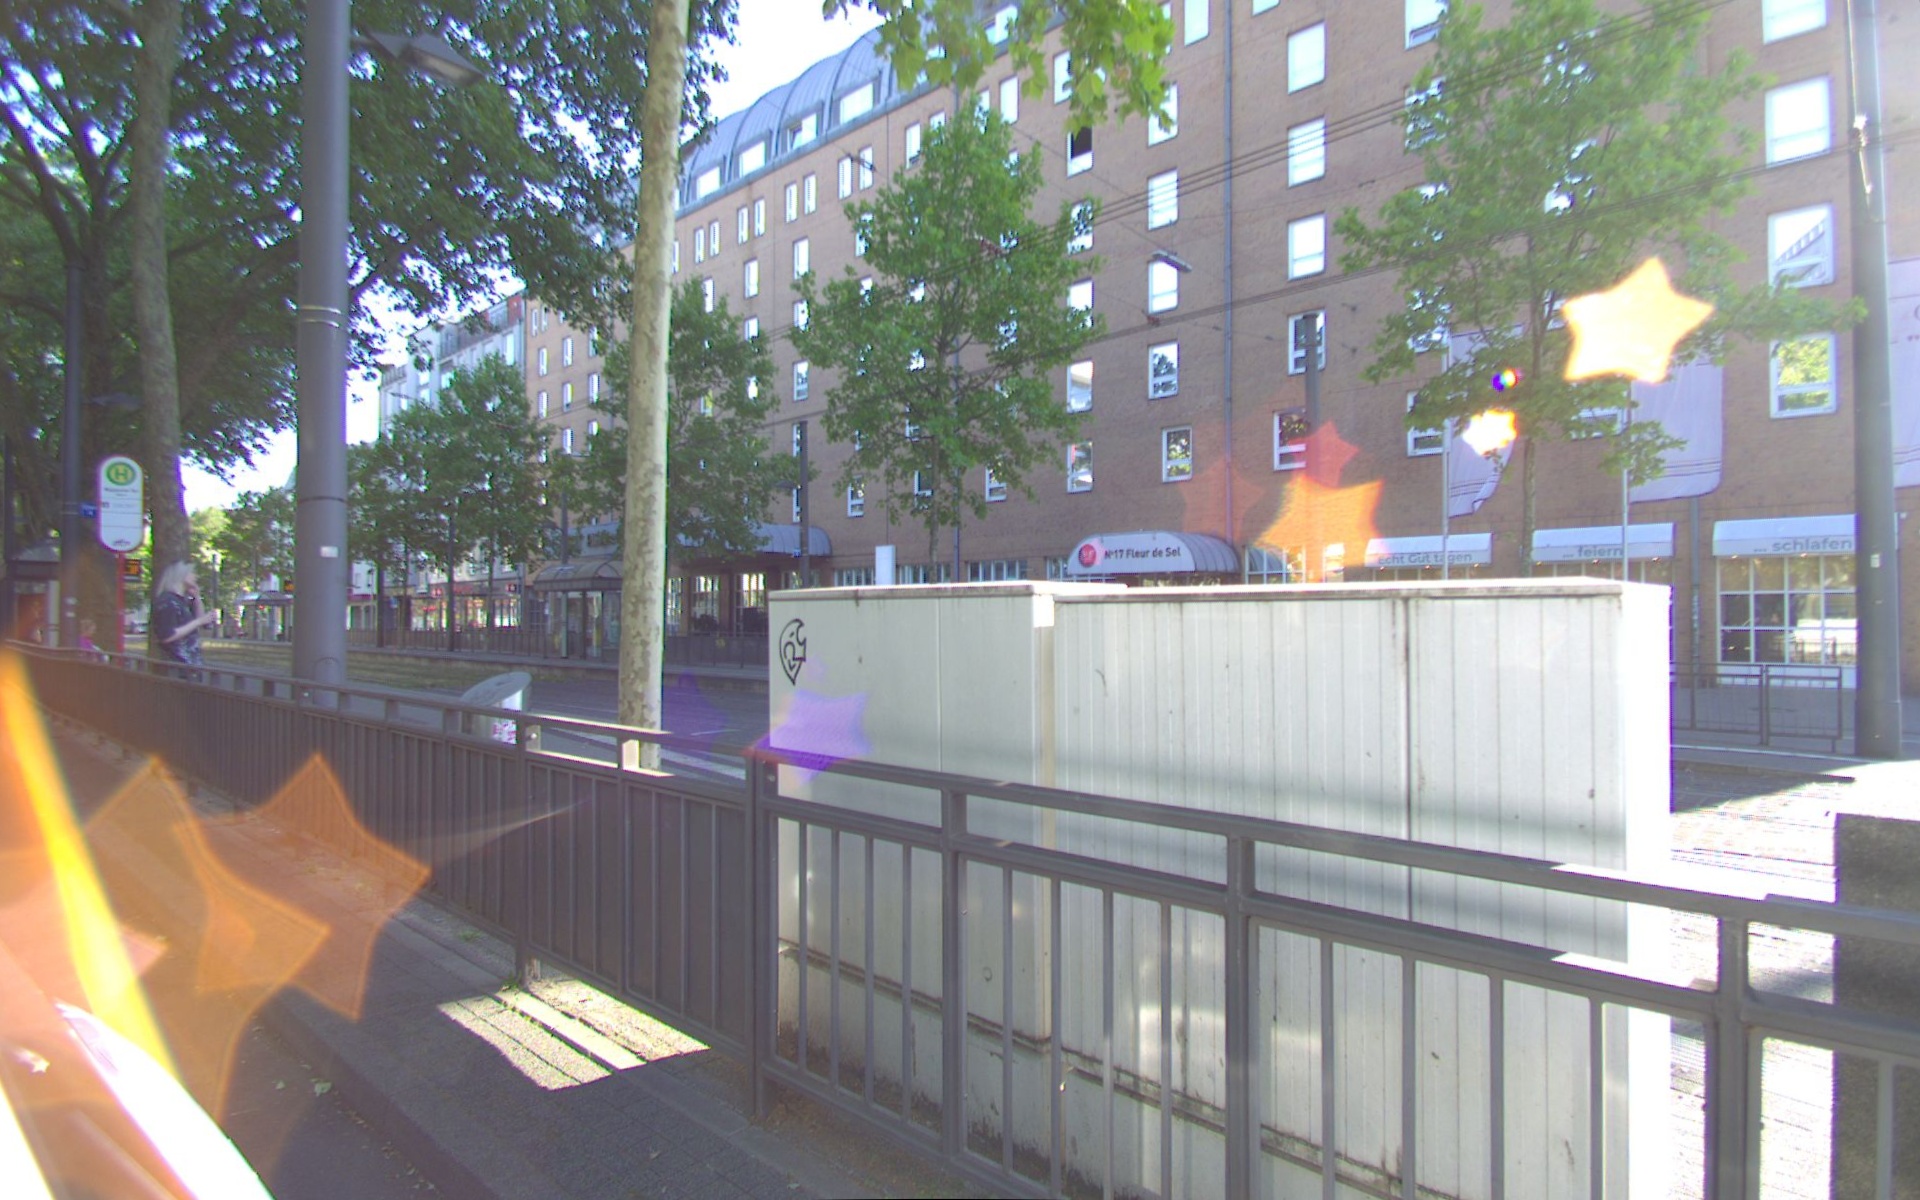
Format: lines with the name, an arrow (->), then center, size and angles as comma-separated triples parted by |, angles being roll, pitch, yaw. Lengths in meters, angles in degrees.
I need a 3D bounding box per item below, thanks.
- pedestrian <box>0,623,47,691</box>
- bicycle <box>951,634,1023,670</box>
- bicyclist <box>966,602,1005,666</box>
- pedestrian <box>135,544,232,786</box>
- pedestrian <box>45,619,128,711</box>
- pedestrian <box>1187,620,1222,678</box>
pedestrian -> -20.134, 1.208, 21.744 | 0.725, 1.398, 0.641 | -1, 0, -44
bicycle -> 0.755, 1.458, 28.720 | 2.185, 0.940, 0.658 | -2, -2, 44
bicyclist -> 0.719, 0.963, 28.763 | 0.852, 1.799, 0.742 | -2, -3, 44
pedestrian -> -6.492, 0.516, 8.458 | 0.760, 1.914, 0.504 | -1, 0, 42
pedestrian -> -14.041, 1.016, 16.264 | 0.965, 1.410, 0.665 | -1, 0, -44
pedestrian -> 6.948, 1.398, 28.747 | 0.725, 1.596, 0.583 | -3, 0, 40
